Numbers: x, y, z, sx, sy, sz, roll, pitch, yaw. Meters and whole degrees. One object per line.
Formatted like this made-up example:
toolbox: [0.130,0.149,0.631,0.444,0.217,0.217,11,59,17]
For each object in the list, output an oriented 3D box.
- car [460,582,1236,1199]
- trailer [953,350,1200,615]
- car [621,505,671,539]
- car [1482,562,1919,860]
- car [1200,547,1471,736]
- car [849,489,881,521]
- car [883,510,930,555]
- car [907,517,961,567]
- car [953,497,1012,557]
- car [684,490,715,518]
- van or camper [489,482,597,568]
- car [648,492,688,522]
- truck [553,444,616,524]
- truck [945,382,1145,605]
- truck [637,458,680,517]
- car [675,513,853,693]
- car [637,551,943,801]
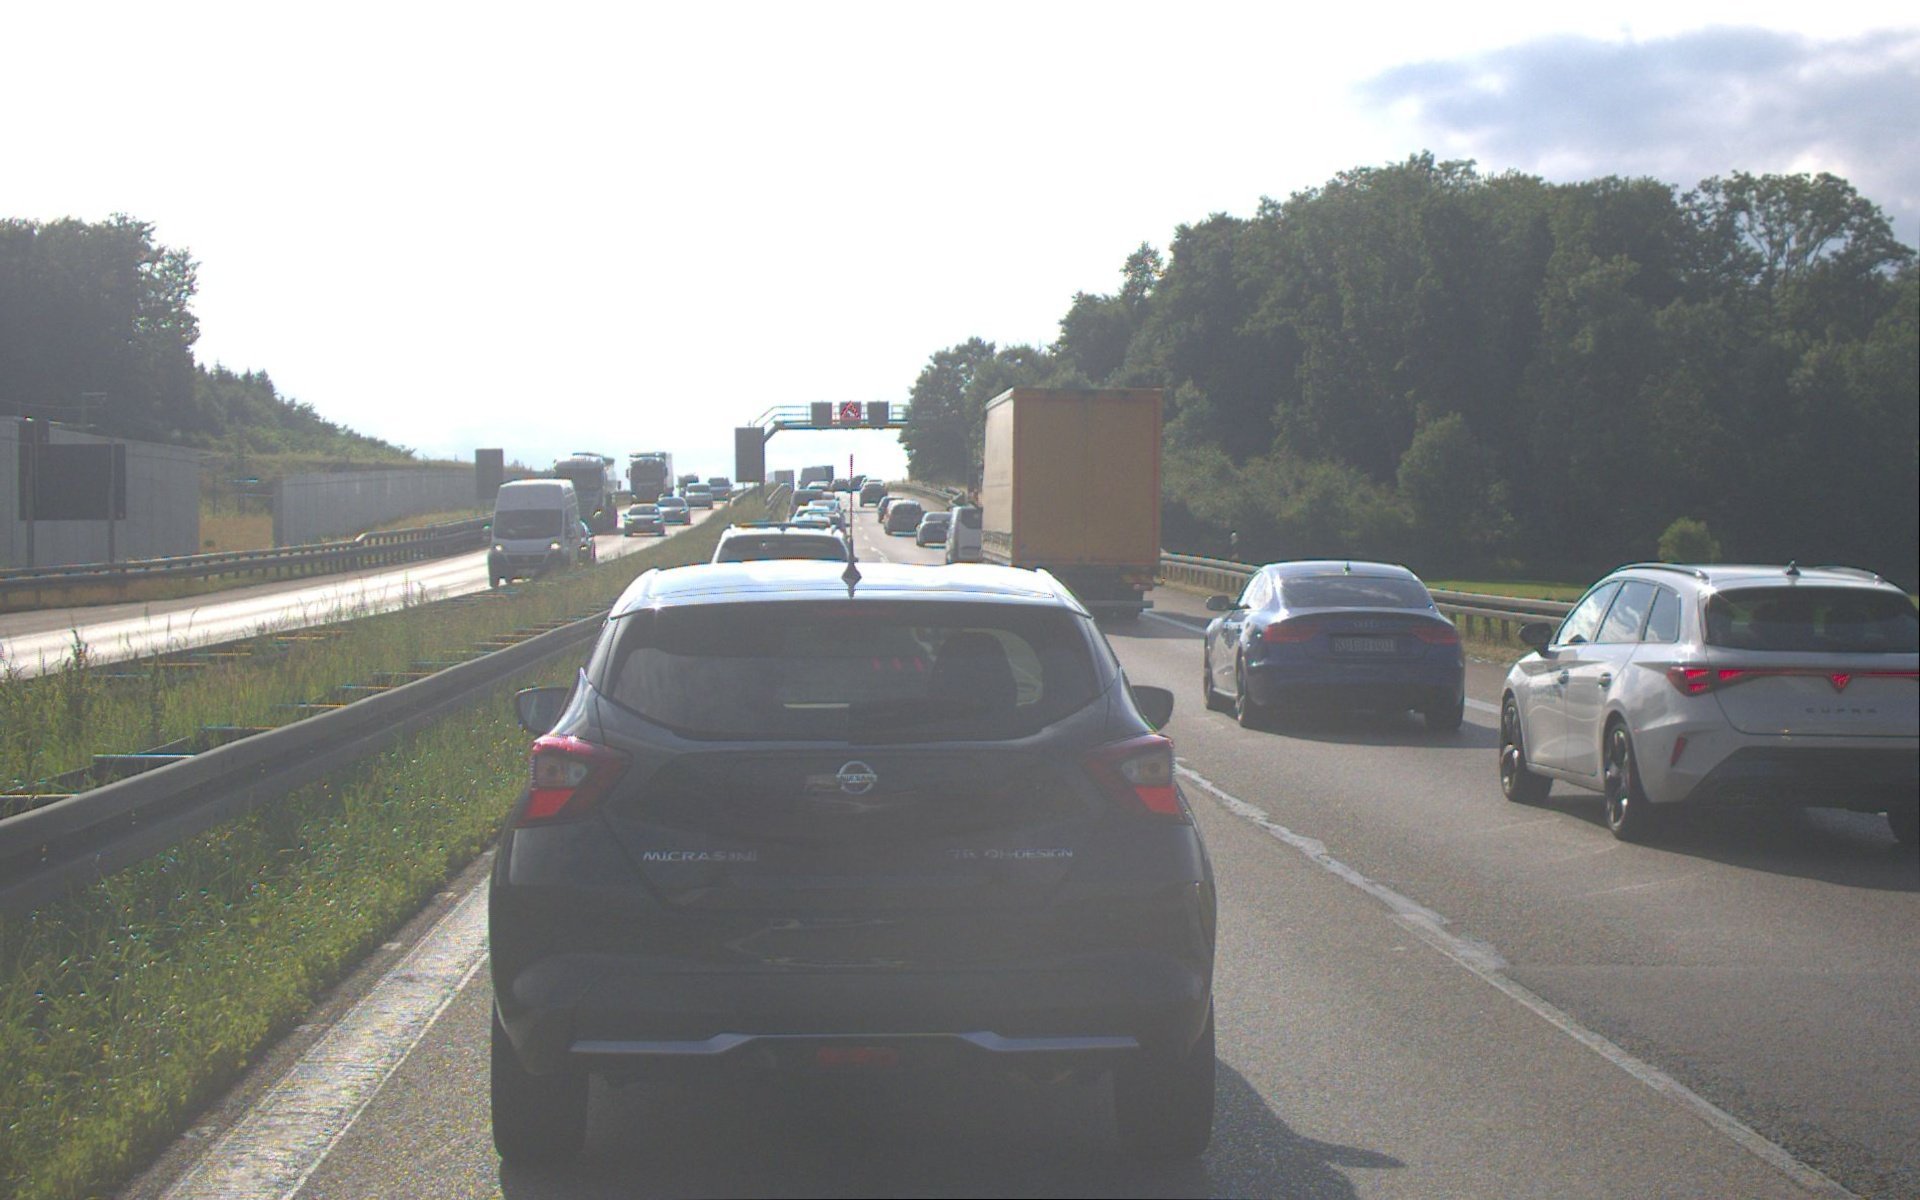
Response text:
car: [-0.268,0.678,9.336,1.710,1.421,3.378,1,0,-1]
trailer: [1.967,-2.060,64.637,3.548,4.442,12.723,1,1,-3]
car: [-14.652,-3.619,160.477,1.993,1.481,4.398,1,1,-1]
car: [4.112,0.526,18.818,1.620,1.440,4.147,1,0,-4]
car: [3.115,0.311,29.252,1.747,1.470,4.147,1,0,-1]
car: [-6.345,-6.305,229.086,1.993,2.007,4.000,1,1,-3]
car: [-2.512,-3.134,159.947,1.993,2.007,4.000,1,1,-3]
car: [-1.088,-2.386,141.647,1.993,2.007,4.000,1,1,-3]
car: [0.658,-2.166,103.082,1.667,1.748,3.327,1,1,-1]
car: [-17.919,-6.617,236.443,1.860,1.827,4.281,1,1,-2]
van or camper: [-11.084,-1.965,91.758,2.166,2.198,6.259,1,1,-1]
car: [-15.828,-5.014,186.466,1.803,1.511,4.691,1,1,-1]
truck: [-18.540,-5.693,169.969,2.552,3.785,5.418,-1,1,-2]
truck: [1.659,-2.139,71.322,3.581,4.365,6.689,1,0,-3]
truck: [-21.830,-8.109,248.981,2.754,4.076,6.954,0,1,-2]
car: [-1.954,0.013,35.096,1.674,1.720,3.596,1,0,-1]
car: [-0.976,0.403,20.786,1.674,1.362,3.596,1,0,-1]
